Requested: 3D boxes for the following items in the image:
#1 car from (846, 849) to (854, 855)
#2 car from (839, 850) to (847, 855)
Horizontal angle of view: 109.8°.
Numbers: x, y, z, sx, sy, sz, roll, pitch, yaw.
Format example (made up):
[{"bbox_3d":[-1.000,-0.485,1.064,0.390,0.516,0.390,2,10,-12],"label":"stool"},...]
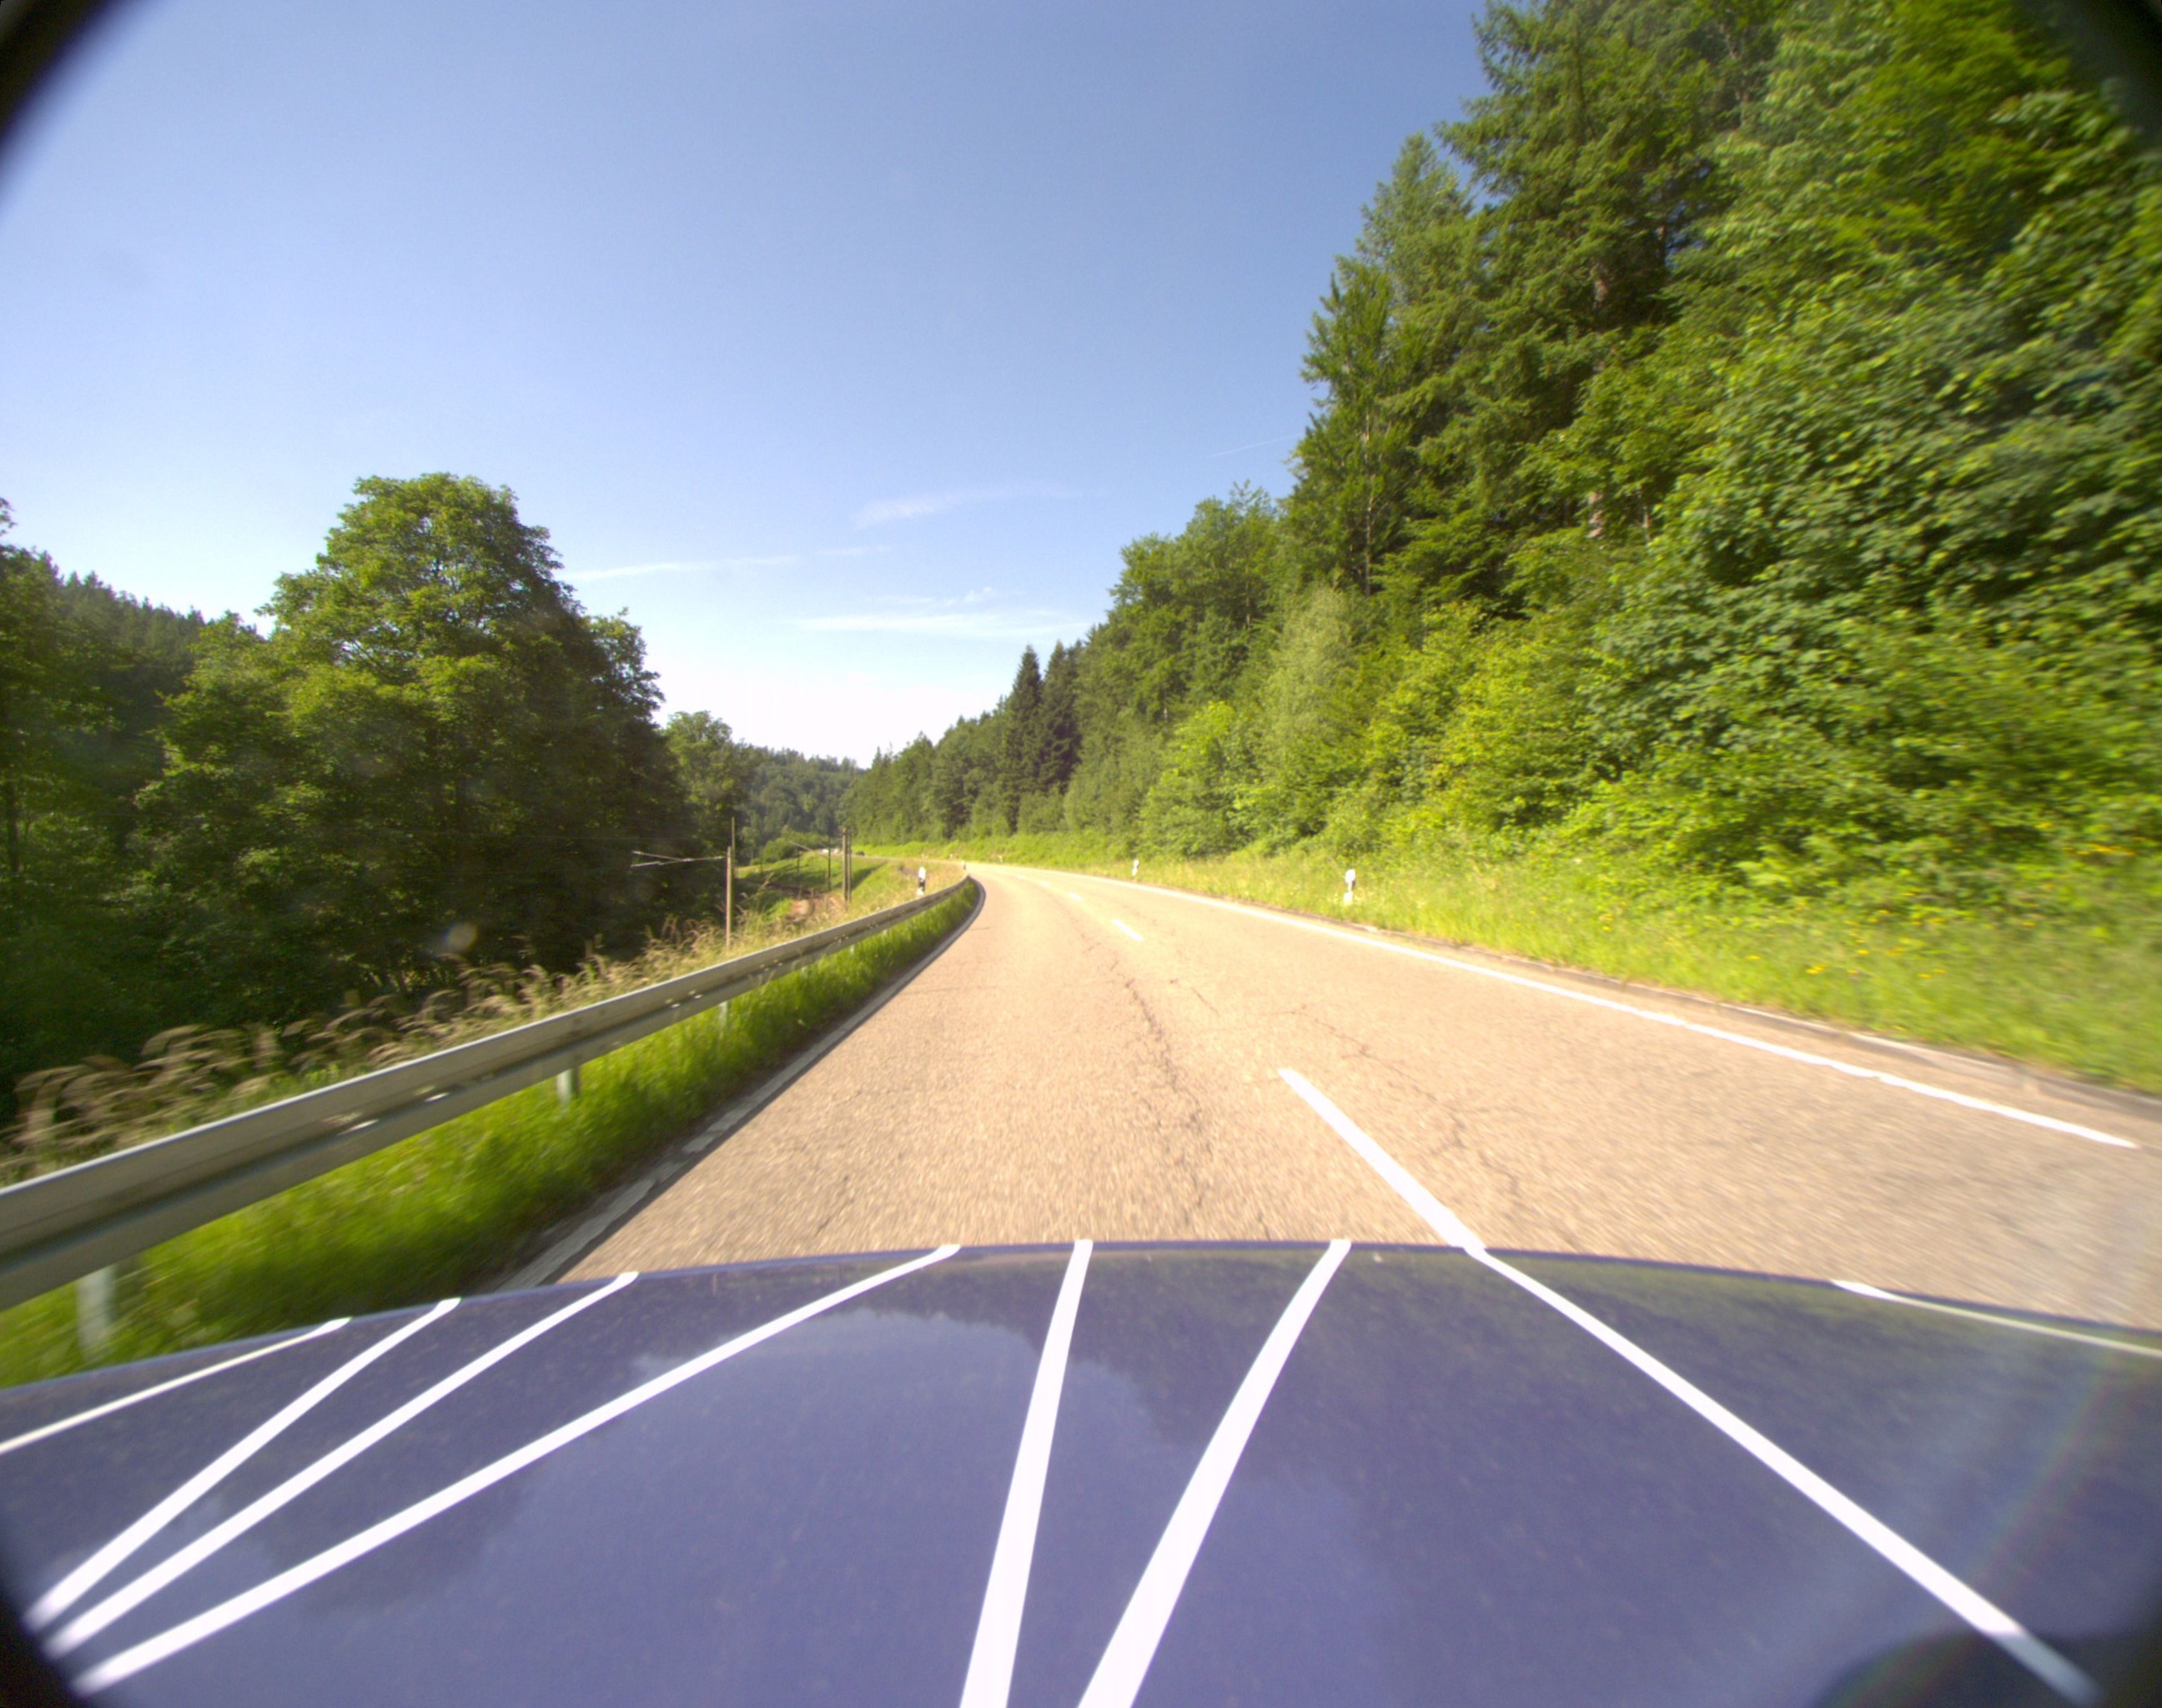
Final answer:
[{"bbox_3d":[-65.409,-0.461,215.297,1.840,1.619,4.343,-2,1,-21],"label":"car"},{"bbox_3d":[-71.843,-0.559,229.385,1.841,1.422,4.669,0,0,-22],"label":"car"}]
